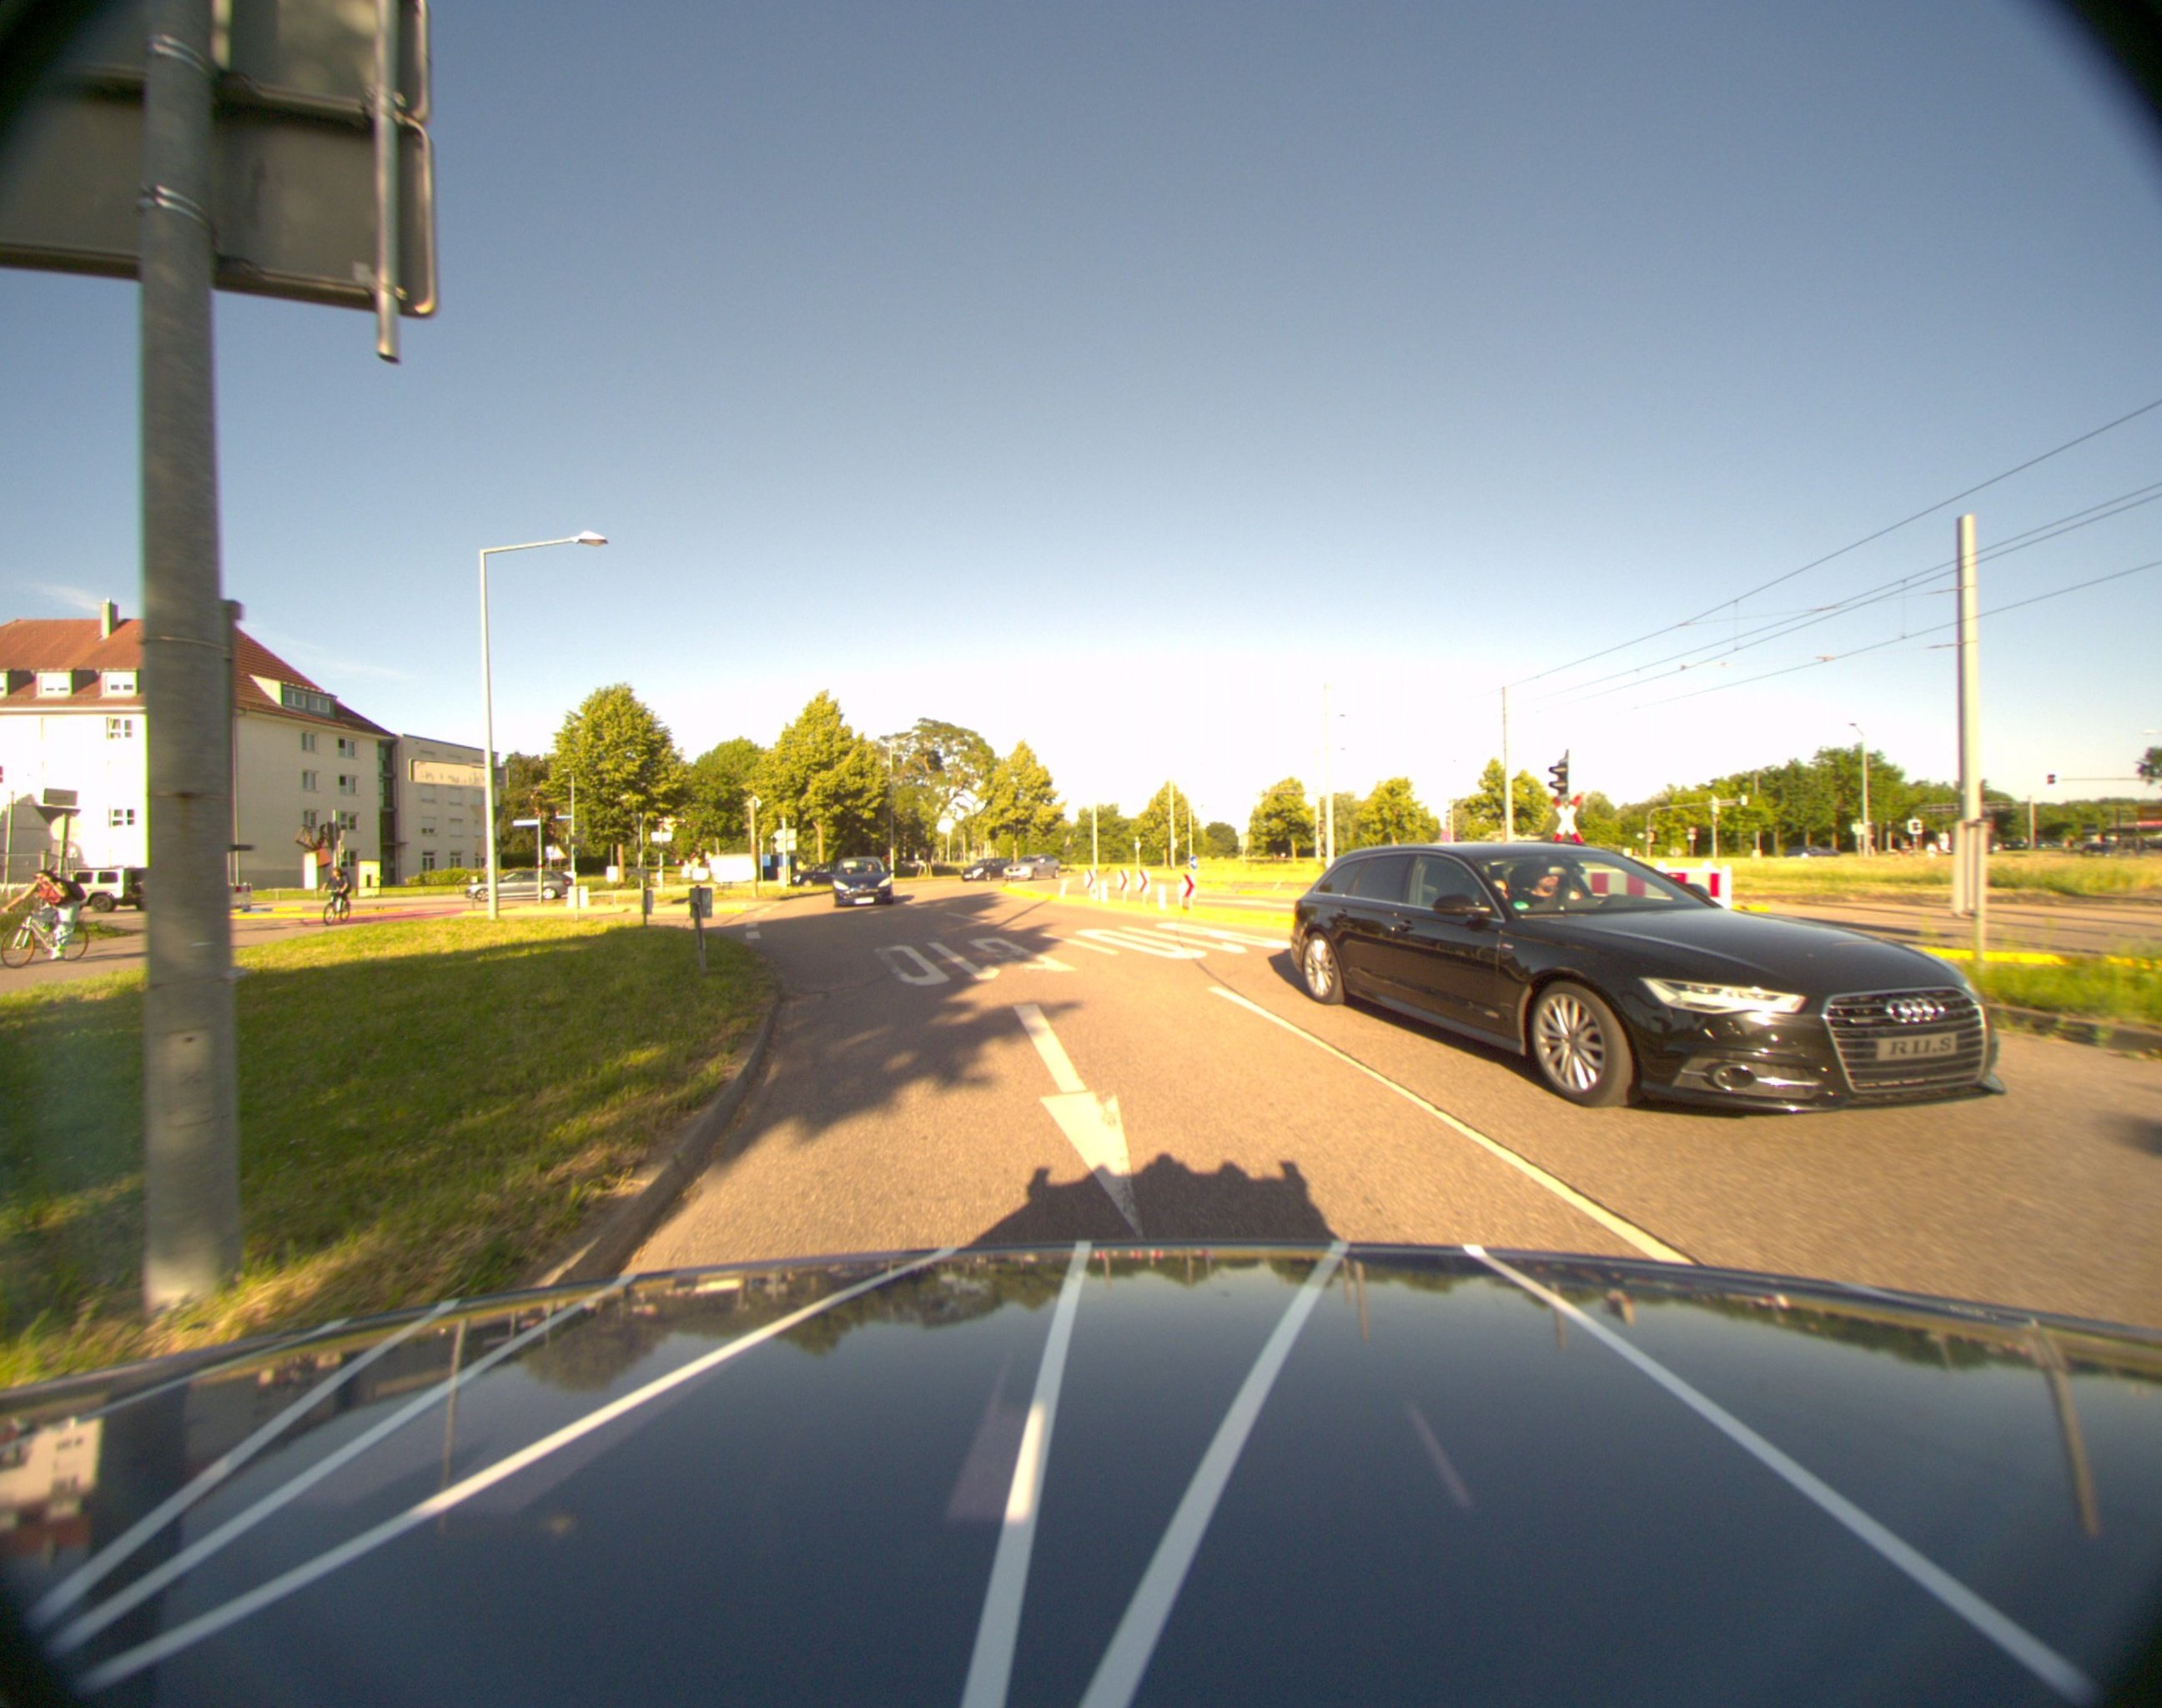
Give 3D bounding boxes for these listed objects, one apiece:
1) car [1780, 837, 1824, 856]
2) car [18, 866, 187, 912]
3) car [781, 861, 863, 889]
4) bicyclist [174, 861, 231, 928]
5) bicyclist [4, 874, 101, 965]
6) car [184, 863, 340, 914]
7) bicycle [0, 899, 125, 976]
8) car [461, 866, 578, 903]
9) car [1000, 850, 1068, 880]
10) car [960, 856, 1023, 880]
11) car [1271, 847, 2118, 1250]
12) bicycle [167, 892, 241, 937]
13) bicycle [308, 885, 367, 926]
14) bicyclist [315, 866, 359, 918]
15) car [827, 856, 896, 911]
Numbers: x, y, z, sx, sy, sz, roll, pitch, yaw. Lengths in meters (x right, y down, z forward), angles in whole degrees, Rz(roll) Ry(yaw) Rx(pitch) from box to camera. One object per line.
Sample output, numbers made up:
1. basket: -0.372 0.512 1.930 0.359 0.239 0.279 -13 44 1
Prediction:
1. car: 60.193 -0.606 63.409 4.017 1.420 1.798 -3 1 -33
2. car: -41.891 1.469 32.641 4.264 1.775 1.893 -1 1 -9
3. car: -14.835 1.180 43.627 1.752 1.370 4.007 -1 2 45
4. bicyclist: -21.707 0.976 18.794 0.594 1.577 0.963 -3 2 -31
5. bicyclist: -17.371 1.083 12.851 0.504 1.464 0.833 -1 1 -10
6. car: -30.191 1.229 28.103 3.562 1.740 2.025 -1 0 1
7. bicycle: -17.396 1.381 12.905 0.507 1.145 1.603 1 0 -10
8. car: -26.410 1.389 35.939 4.282 1.420 1.846 -3 1 -32
9. car: -2.650 0.598 43.942 1.845 1.560 4.536 -1 1 26
10. car: -5.581 0.852 47.875 1.845 1.419 3.955 -1 0 33
11. car: 3.238 0.746 5.420 1.790 1.518 4.596 -3 1 -12
12. bicycle: -21.728 1.470 18.867 0.594 0.955 1.896 -3 1 -31
13. bicycle: -21.964 1.511 22.490 0.479 1.076 1.641 -2 1 -16
14. bicyclist: -21.970 1.108 22.452 0.472 1.477 0.914 -2 2 -16
15. car: -6.987 0.862 23.963 1.766 1.506 3.941 -3 1 -20
